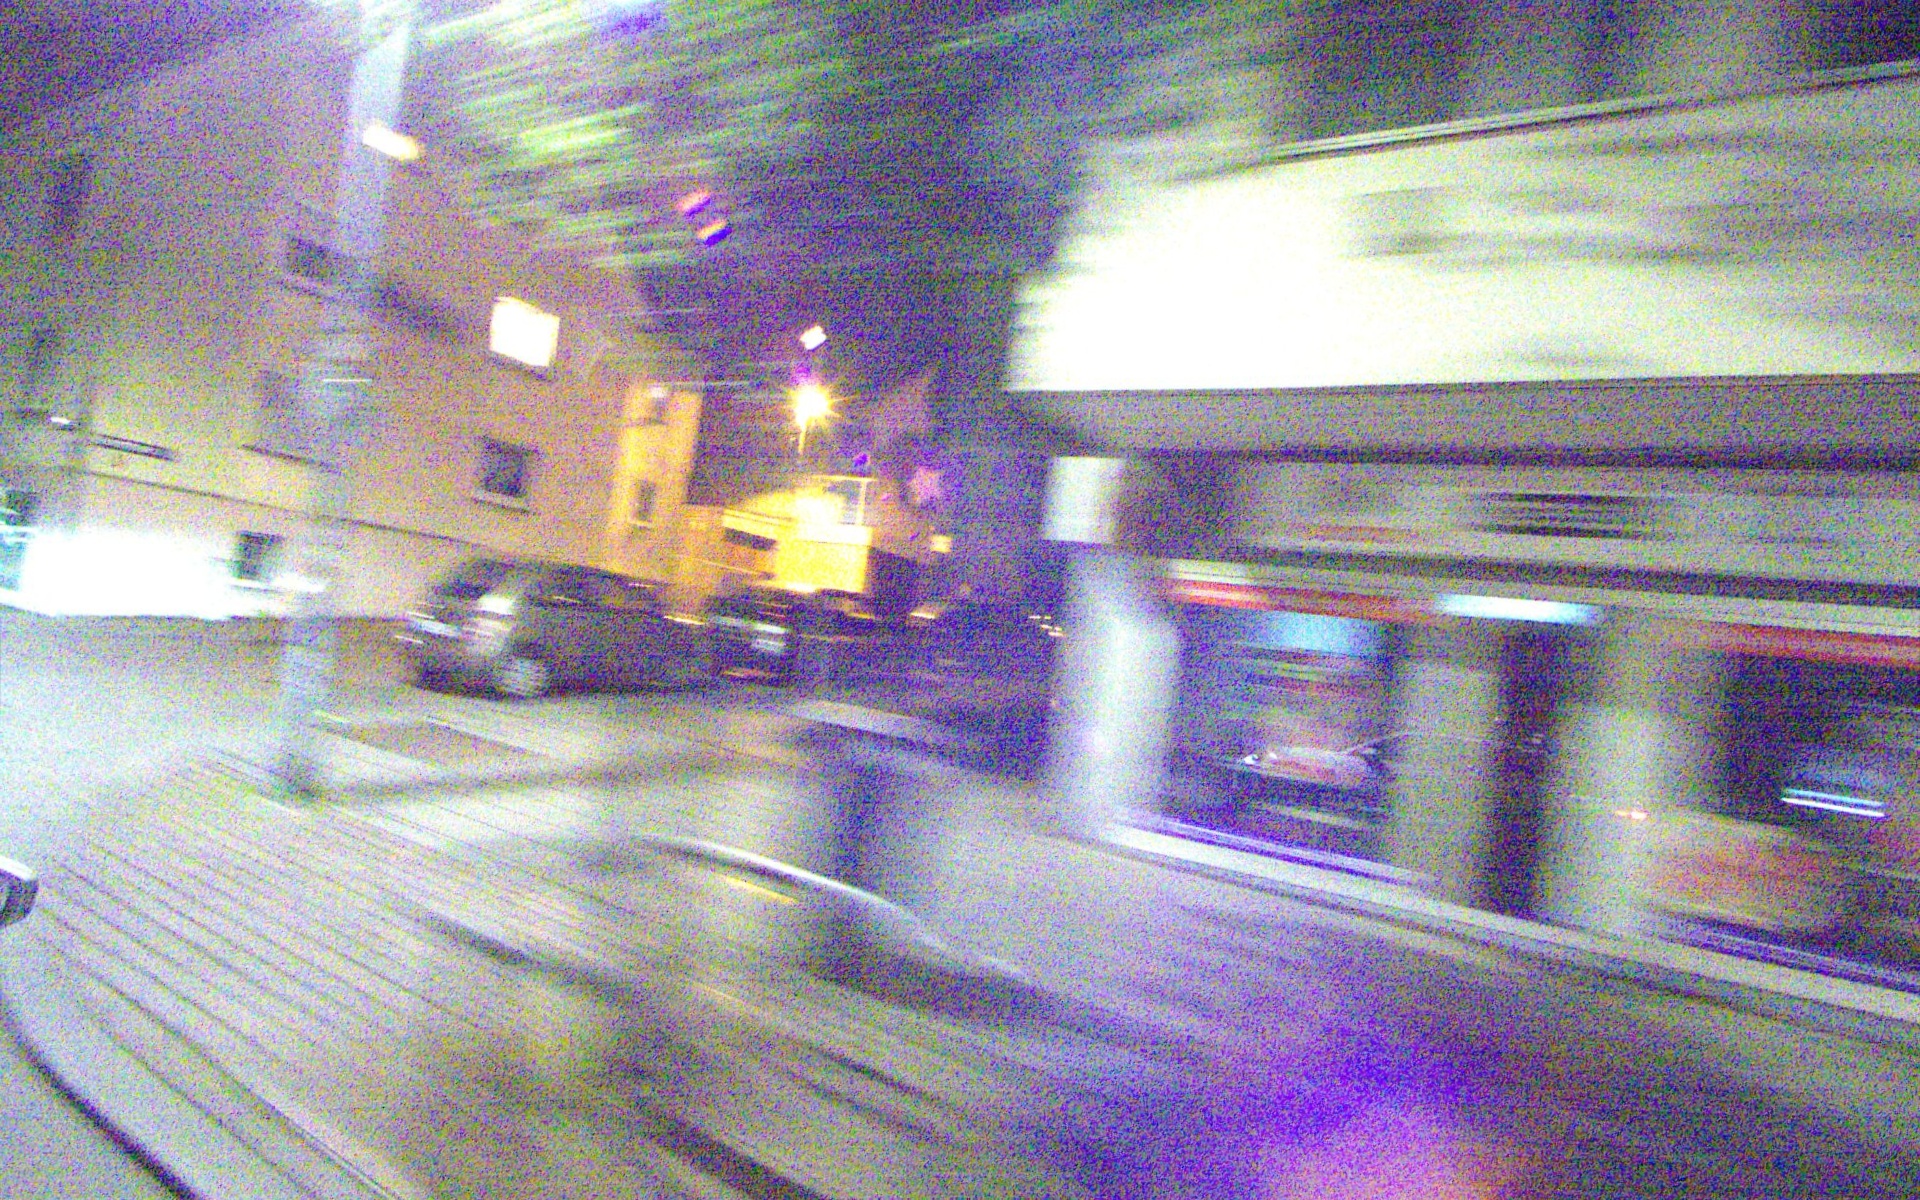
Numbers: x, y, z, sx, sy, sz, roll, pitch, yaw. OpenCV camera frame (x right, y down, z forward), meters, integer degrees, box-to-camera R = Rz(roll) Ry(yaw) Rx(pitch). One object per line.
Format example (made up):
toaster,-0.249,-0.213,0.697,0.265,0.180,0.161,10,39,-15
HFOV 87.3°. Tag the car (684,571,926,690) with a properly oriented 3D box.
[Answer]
car,-2.307,0.466,15.914,1.648,1.516,3.847,6,1,30

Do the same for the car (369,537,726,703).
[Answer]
car,-4.739,0.251,12.015,1.790,1.544,3.509,7,1,29

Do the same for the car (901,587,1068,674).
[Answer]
car,0.640,0.605,21.067,1.648,1.491,4.363,6,2,27
